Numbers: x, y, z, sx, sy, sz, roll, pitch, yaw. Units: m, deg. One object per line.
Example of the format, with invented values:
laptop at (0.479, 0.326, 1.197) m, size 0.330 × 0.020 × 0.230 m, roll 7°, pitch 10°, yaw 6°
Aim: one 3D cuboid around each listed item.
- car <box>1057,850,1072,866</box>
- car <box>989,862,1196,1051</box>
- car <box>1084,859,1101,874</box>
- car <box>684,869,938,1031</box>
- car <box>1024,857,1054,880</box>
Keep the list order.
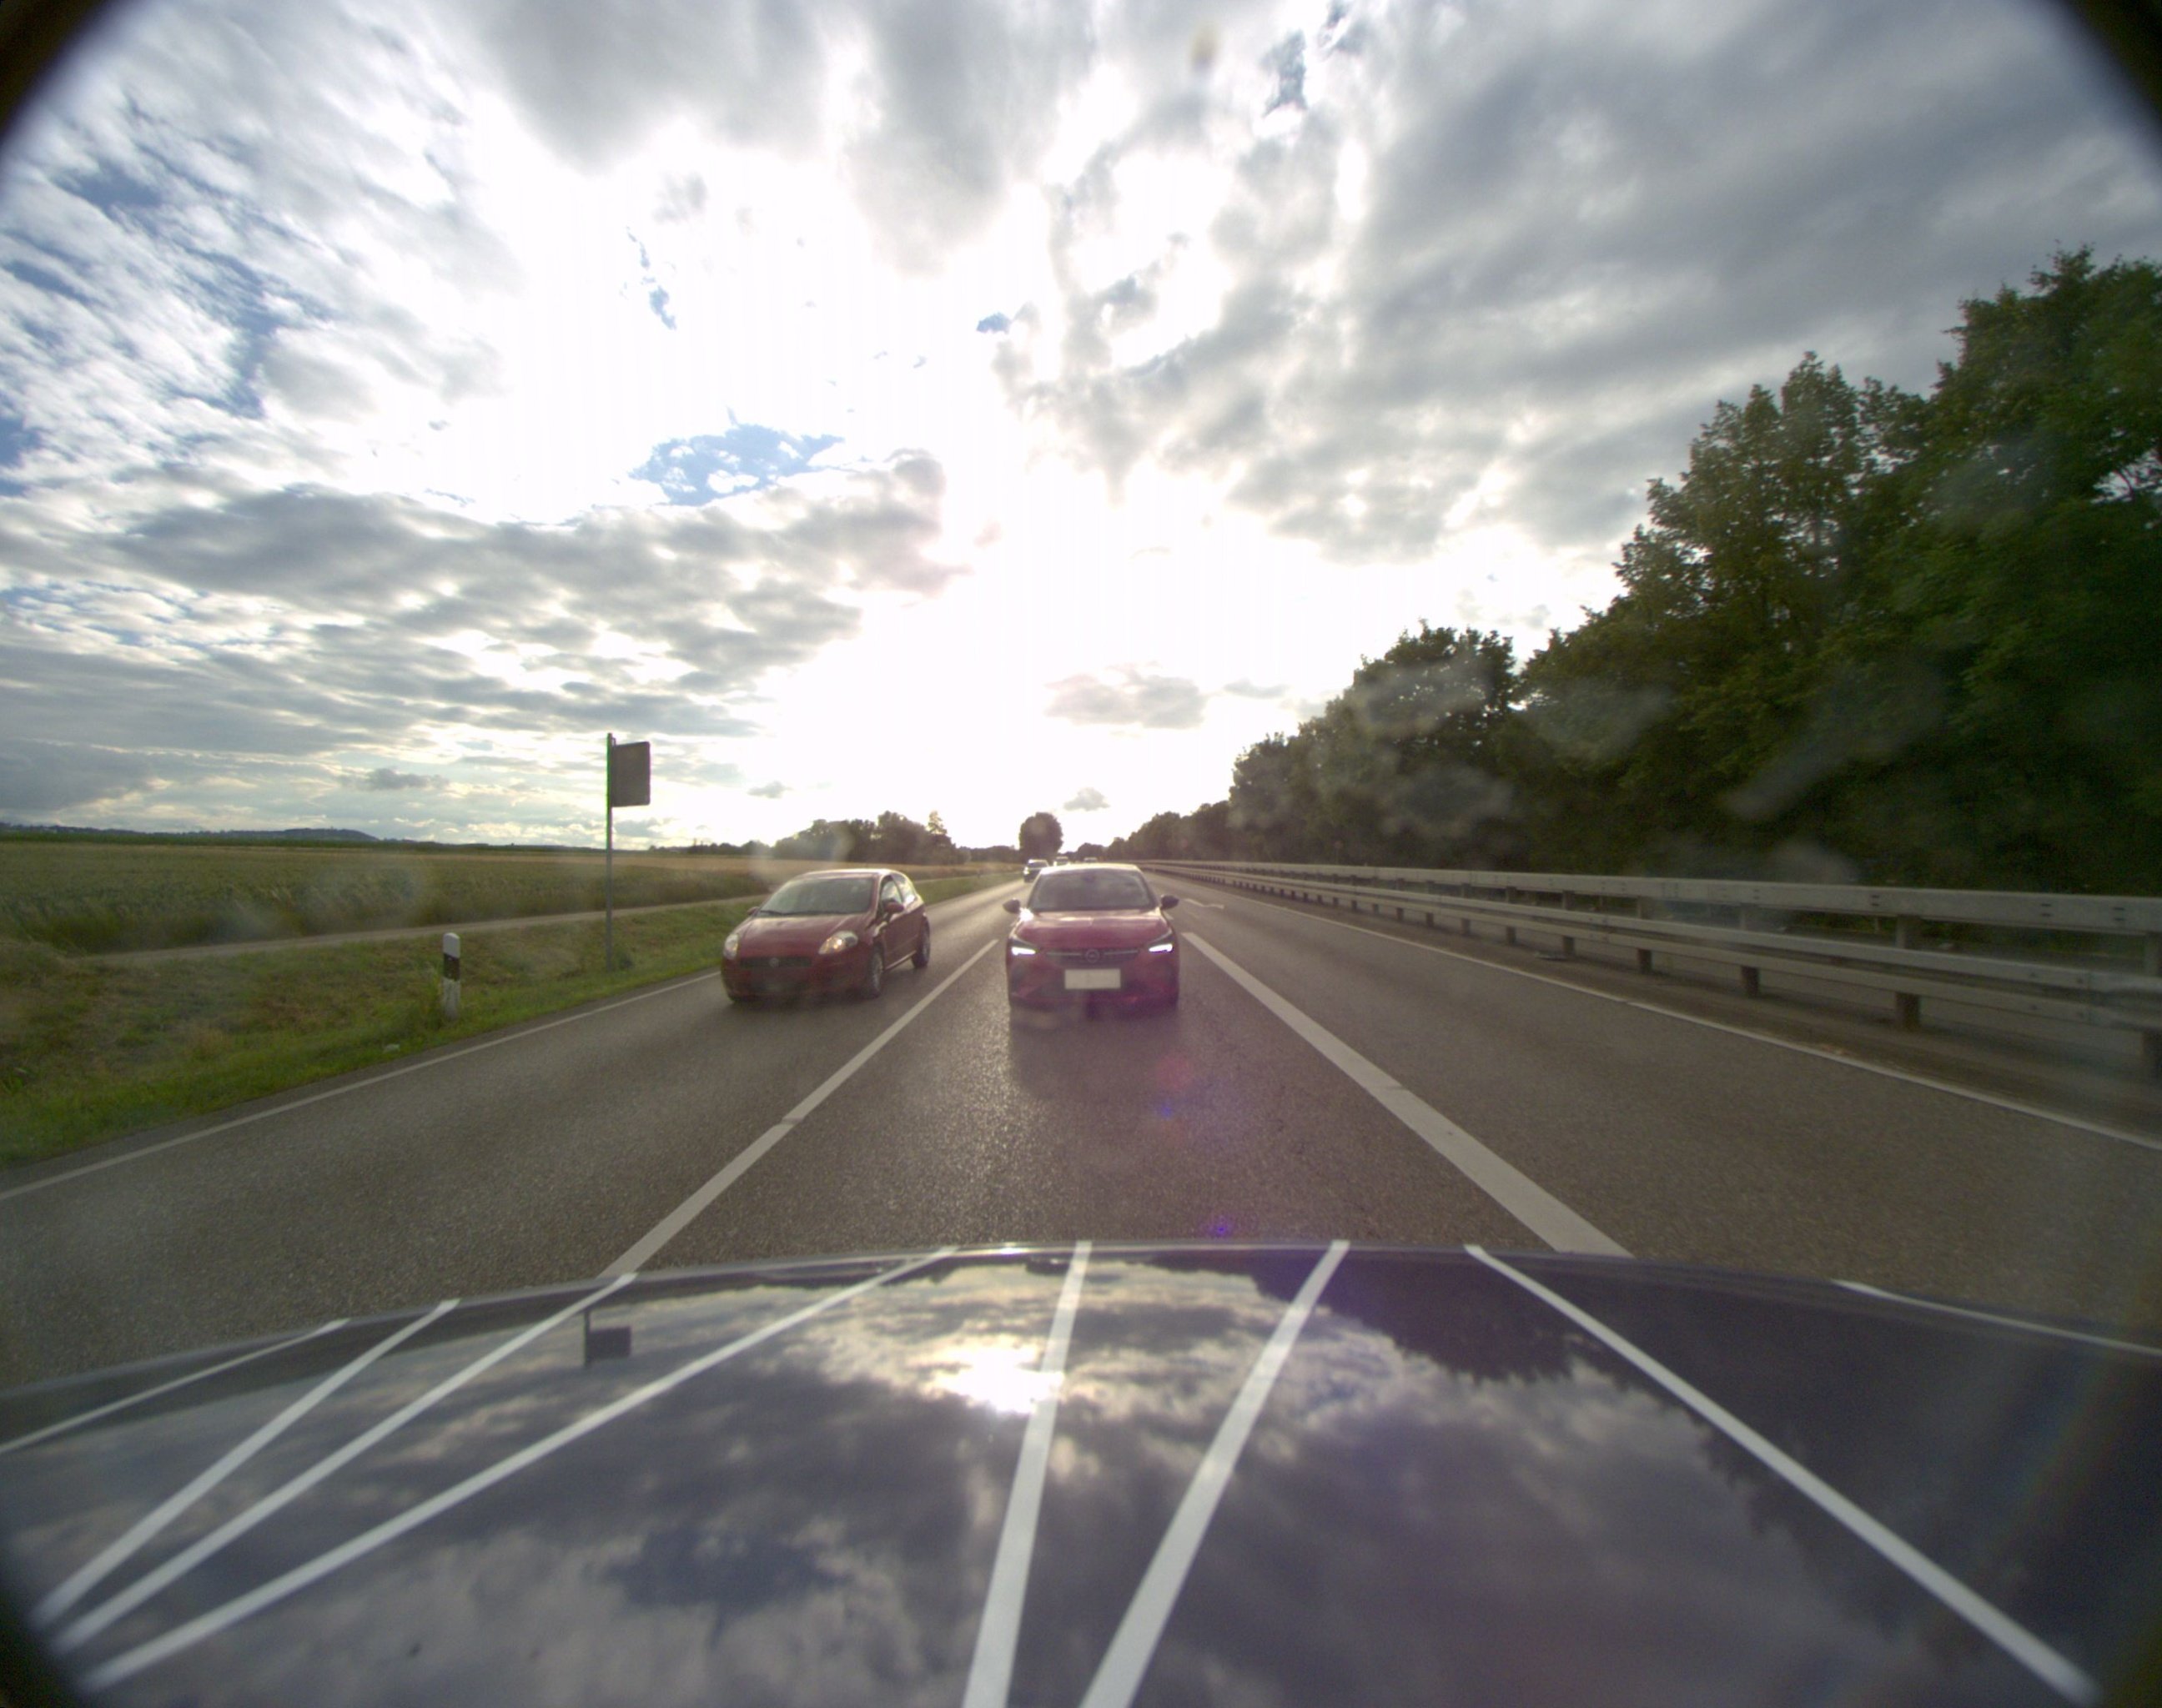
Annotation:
car at (-1.950, 0.447, 90.921) m, size 1.671 × 1.730 × 4.032 m, roll -2°, pitch 1°, yaw 1°
car at (0.123, 0.902, 8.513) m, size 1.712 × 1.448 × 4.061 m, roll -2°, pitch 1°, yaw 1°
car at (1.224, 1.324, 80.797) m, size 1.712 × 1.448 × 4.061 m, roll -2°, pitch 1°, yaw 1°
car at (-3.087, 1.010, 9.622) m, size 1.712 × 1.448 × 3.908 m, roll -2°, pitch 1°, yaw 1°
car at (-2.928, 1.010, 53.426) m, size 1.799 × 1.448 × 4.032 m, roll -2°, pitch 1°, yaw 1°
